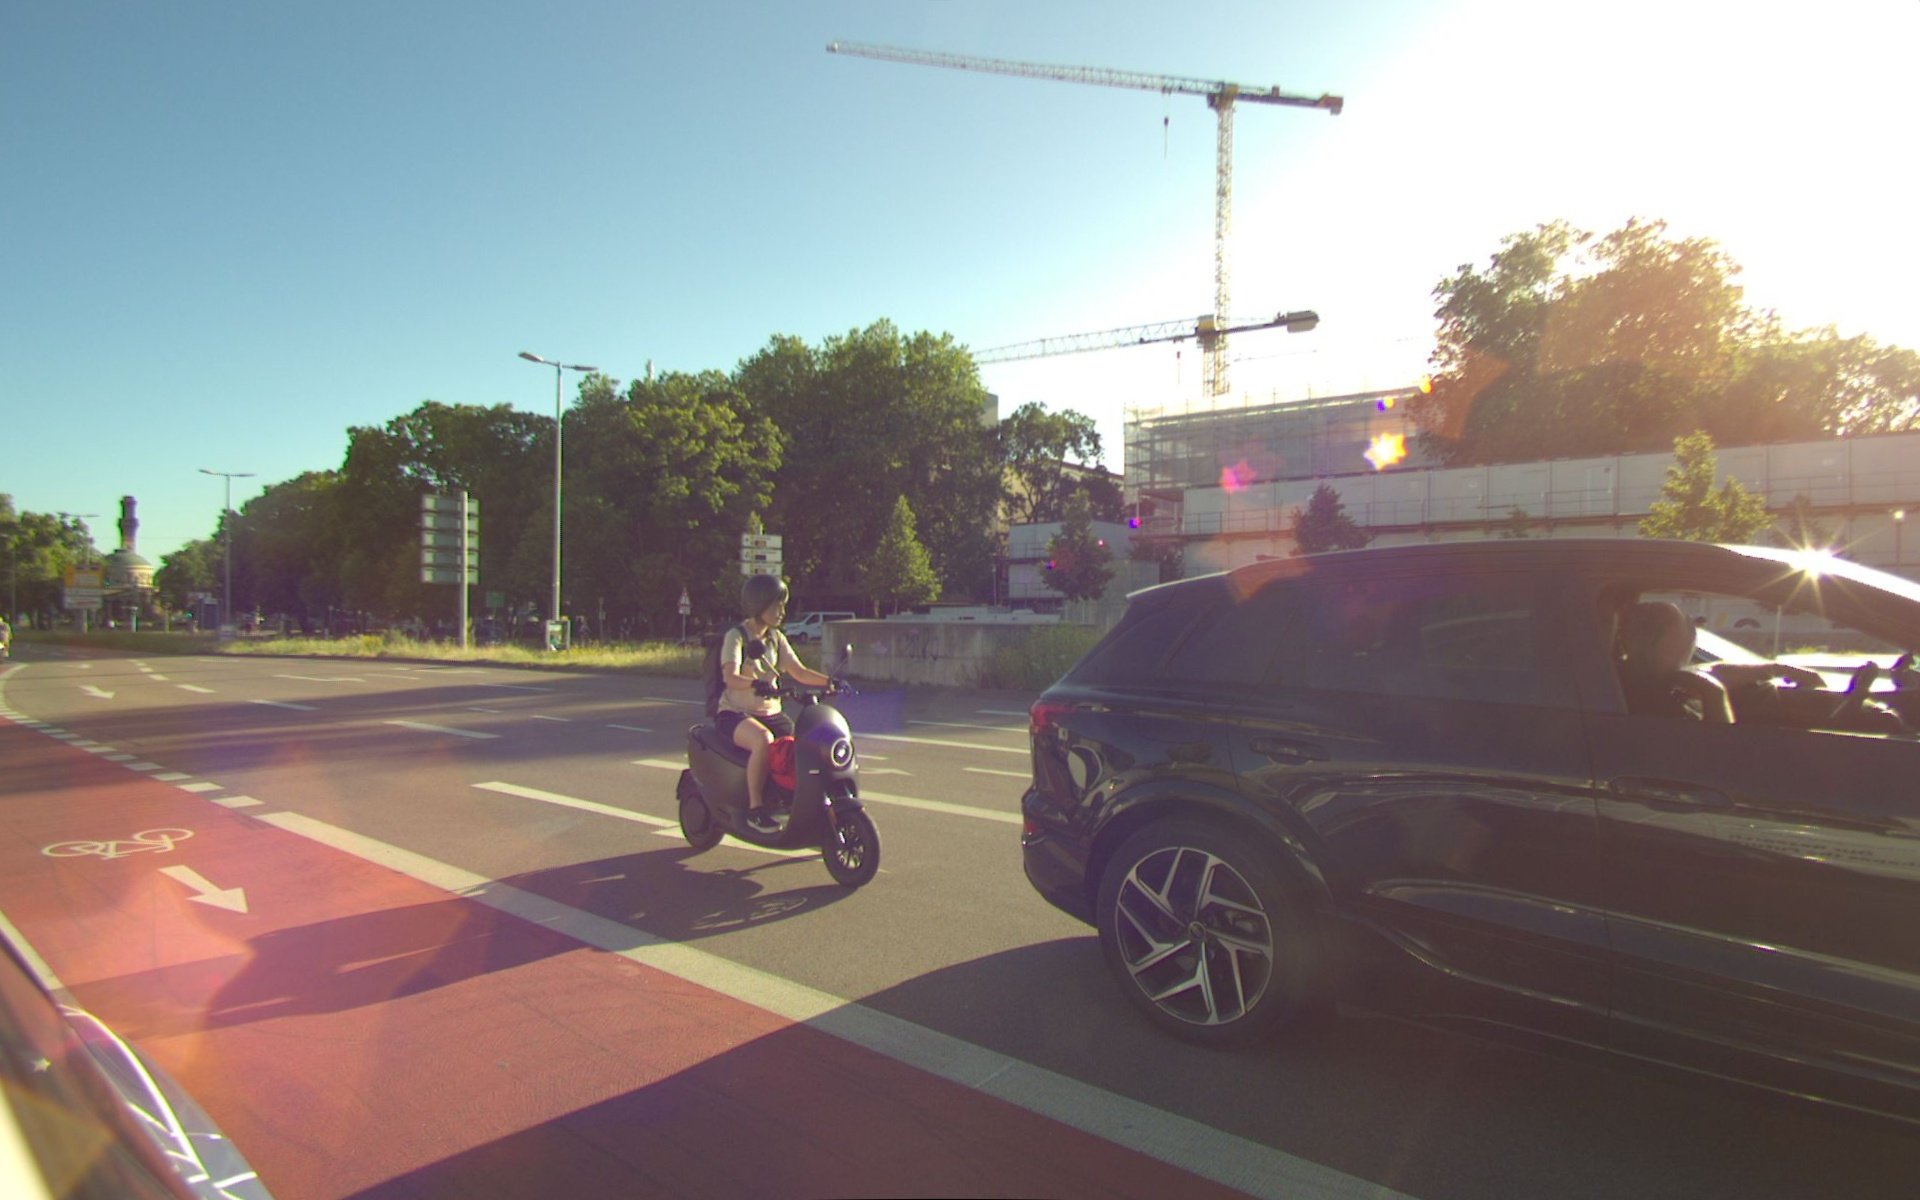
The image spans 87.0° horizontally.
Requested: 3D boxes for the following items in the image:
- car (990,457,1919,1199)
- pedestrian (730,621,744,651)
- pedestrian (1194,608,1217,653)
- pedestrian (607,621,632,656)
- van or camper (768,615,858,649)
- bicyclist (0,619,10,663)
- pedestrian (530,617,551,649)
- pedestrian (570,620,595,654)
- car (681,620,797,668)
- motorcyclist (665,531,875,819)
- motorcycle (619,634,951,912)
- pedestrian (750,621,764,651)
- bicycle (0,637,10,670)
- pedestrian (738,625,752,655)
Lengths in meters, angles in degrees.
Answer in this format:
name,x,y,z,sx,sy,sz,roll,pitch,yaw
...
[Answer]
name,x,y,z,sx,sy,sz,roll,pitch,yaw
car,2.584,0.552,3.160,4.661,1.720,2.143,-1,-1,40
pedestrian,-11.266,1.821,51.168,0.494,1.522,0.492,-1,-2,41
pedestrian,8.986,1.114,37.013,0.597,1.614,0.580,-1,0,38
pedestrian,-19.933,2.222,59.232,0.815,1.978,1.111,-1,0,41
van or camper,-8.957,1.936,61.892,1.951,1.960,5.425,-2,-2,44
bicyclist,-36.306,1.541,38.095,0.877,1.671,0.666,-1,-2,41
pedestrian,-26.801,2.108,64.630,0.948,2.029,0.836,-1,0,15
pedestrian,-22.912,2.238,61.481,1.054,1.978,0.942,-1,0,26
car,-7.464,1.441,34.024,3.979,1.492,1.857,-1,-2,41
motorcyclist,-1.083,0.397,5.791,0.877,1.475,0.813,-1,-2,41
motorcycle,-1.042,0.845,5.724,1.943,1.290,0.817,-1,-2,41
pedestrian,-10.517,1.854,52.510,0.494,1.522,0.492,-1,-2,41
bicycle,-36.293,2.012,38.054,1.505,1.201,0.680,-1,-2,41
pedestrian,-11.061,2.043,51.976,0.494,1.522,0.492,-1,-2,41
